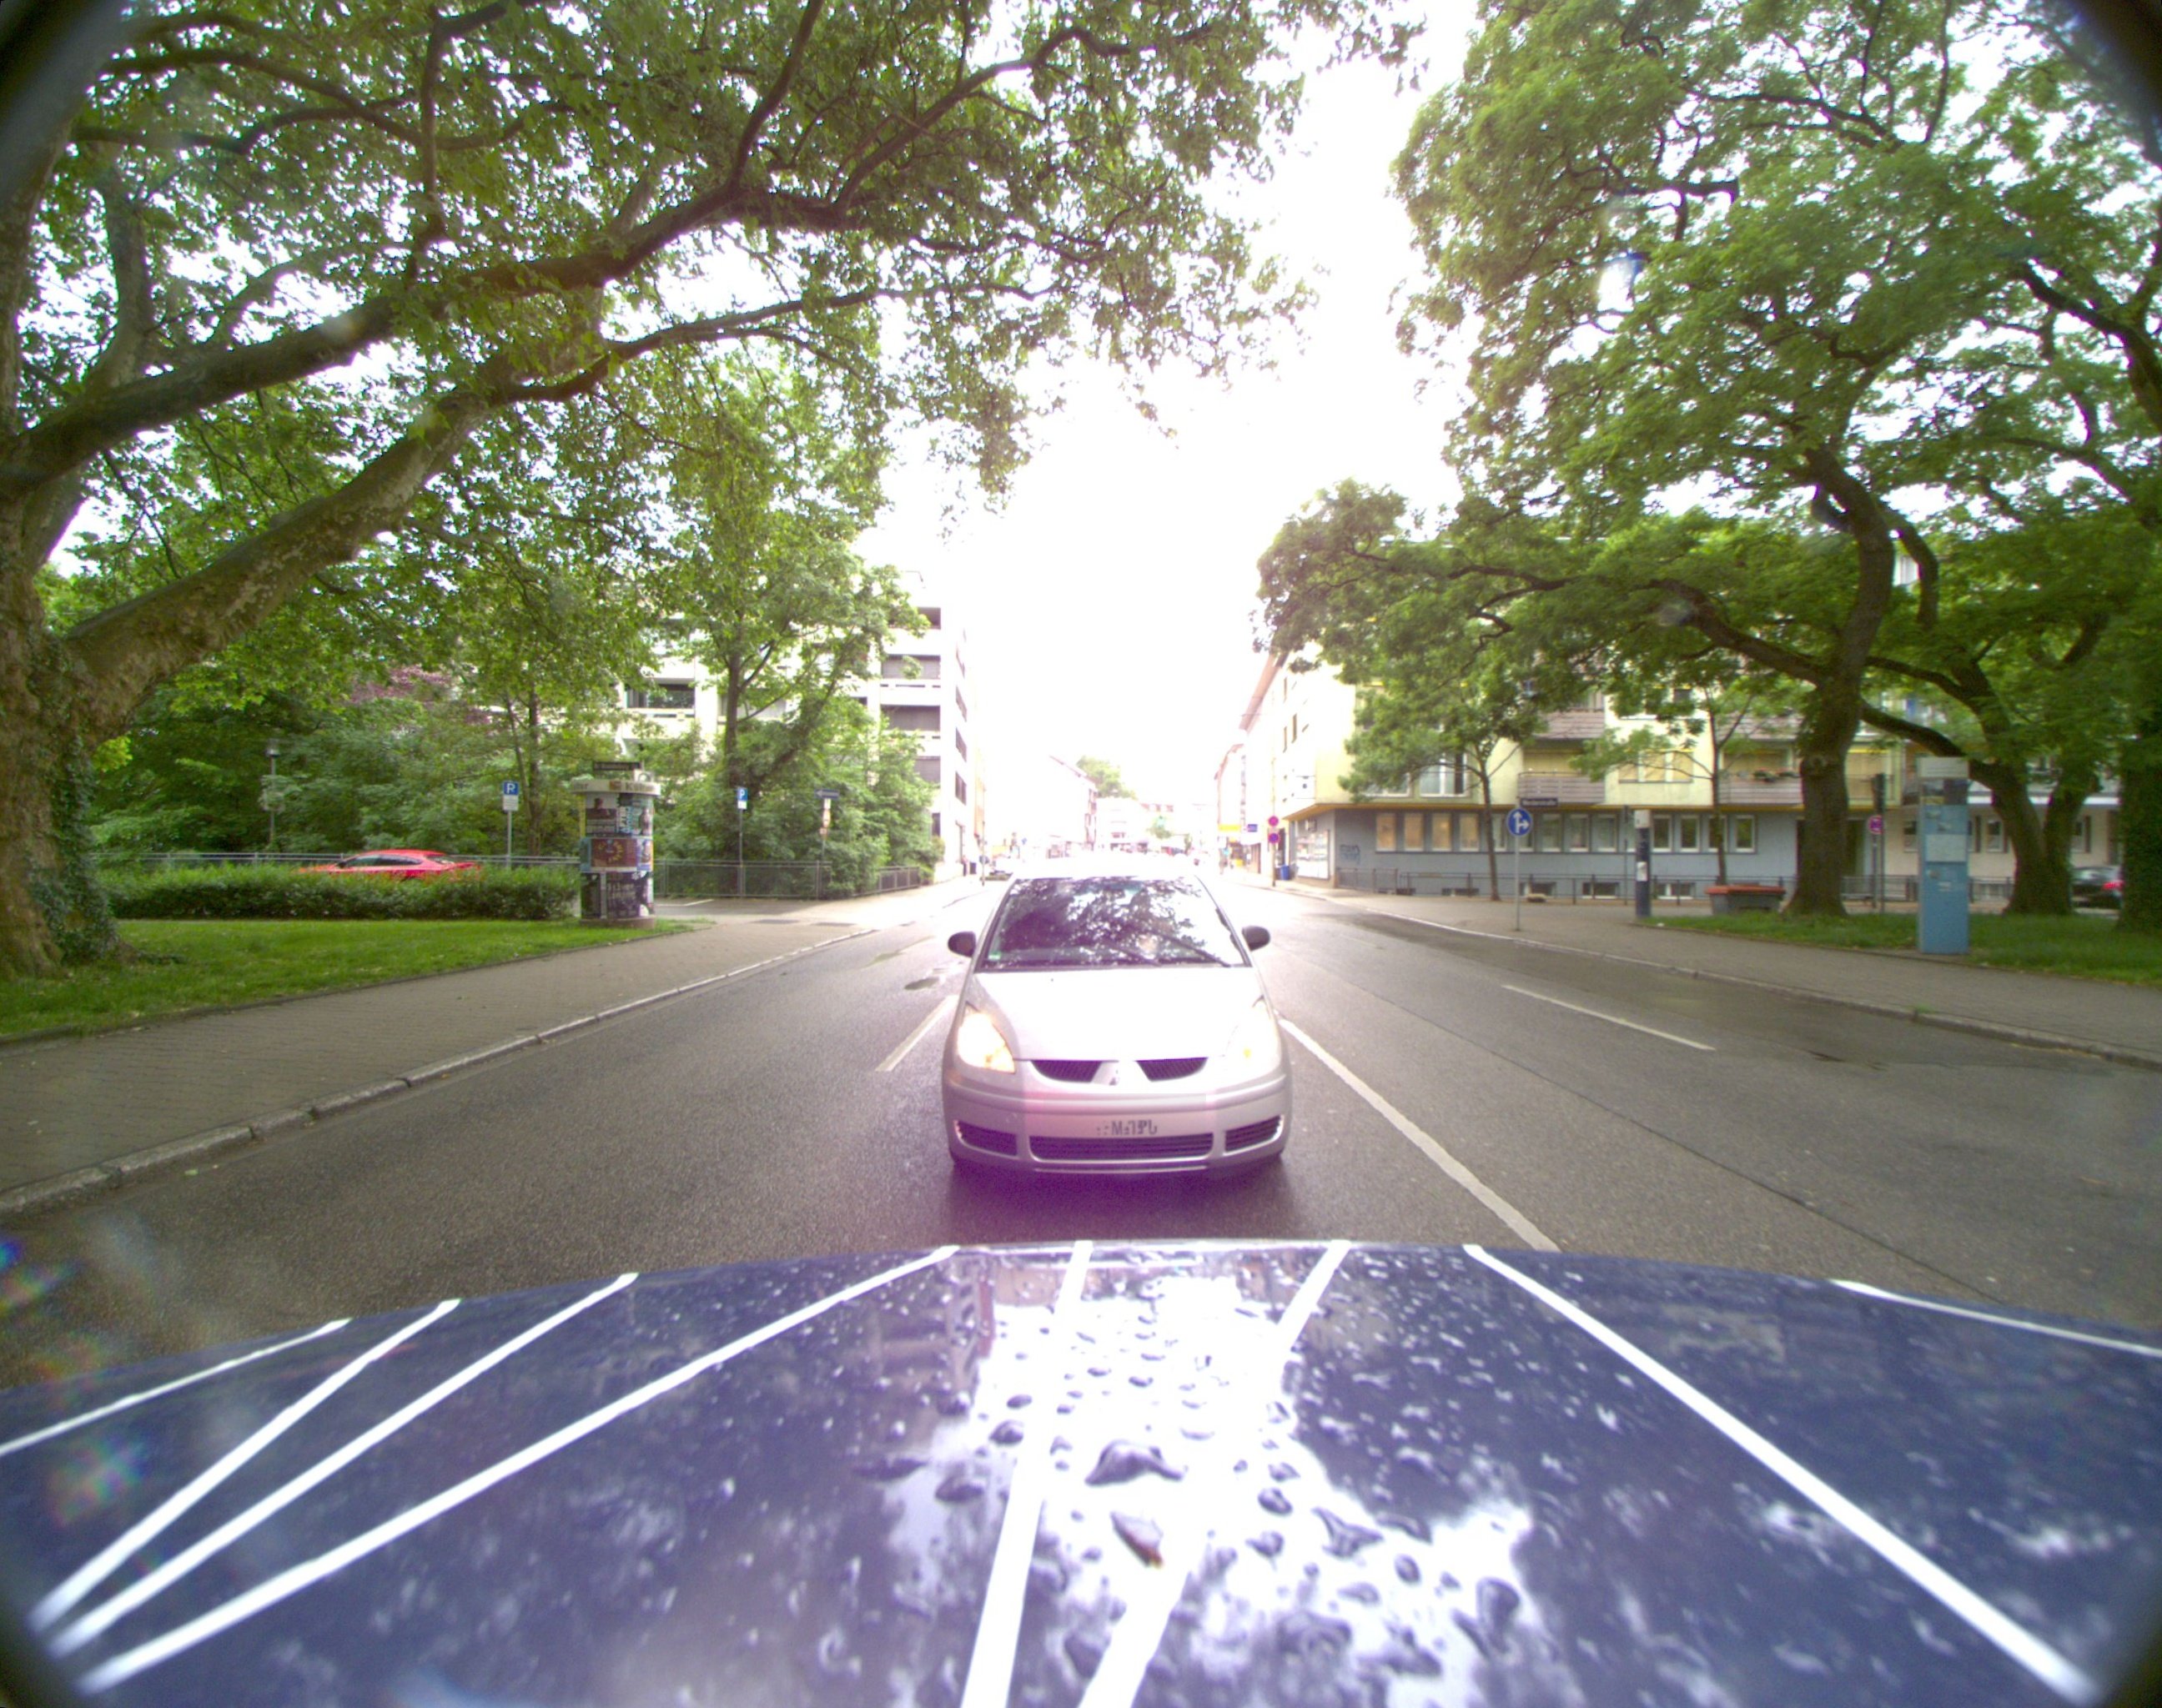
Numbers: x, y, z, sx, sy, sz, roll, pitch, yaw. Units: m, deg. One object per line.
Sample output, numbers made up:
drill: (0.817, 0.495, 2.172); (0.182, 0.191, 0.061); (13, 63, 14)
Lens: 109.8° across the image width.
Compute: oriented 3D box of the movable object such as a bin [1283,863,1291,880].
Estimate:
movable object such as a bin: (13.090, 1.108, 48.265); (0.415, 1.023, 0.353); (1, 1, 8)

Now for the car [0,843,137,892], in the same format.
car: (-29.158, 0.361, 21.258); (3.468, 1.271, 1.448); (1, 1, -5)

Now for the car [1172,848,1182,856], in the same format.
car: (20.672, -0.404, 164.038); (1.998, 1.841, 4.001); (1, 0, 4)

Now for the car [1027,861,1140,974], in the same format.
car: (0.118, 0.920, 12.690); (1.590, 1.540, 3.771); (1, 0, 2)

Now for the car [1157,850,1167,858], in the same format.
car: (16.344, -0.011, 153.395); (1.998, 1.631, 4.001); (1, 0, 4)

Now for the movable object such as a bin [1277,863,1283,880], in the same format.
movable object such as a bin: (12.685, 1.111, 48.410); (0.338, 1.023, 0.353); (1, 1, 8)

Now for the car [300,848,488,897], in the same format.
car: (-19.386, 0.513, 21.565); (3.790, 1.271, 1.576); (1, 1, -3)

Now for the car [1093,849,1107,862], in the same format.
car: (2.732, 0.184, 108.795); (1.935, 1.817, 4.000); (-2, 1, 3)

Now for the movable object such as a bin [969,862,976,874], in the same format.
movable object such as a bin: (-8.983, 1.164, 62.941); (0.556, 1.035, 0.292); (1, 1, 0)

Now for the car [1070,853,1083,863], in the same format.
car: (-0.662, 0.512, 113.037); (1.802, 1.433, 3.896); (1, 0, 0)

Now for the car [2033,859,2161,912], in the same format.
car: (31.523, 0.953, 22.947); (3.564, 1.480, 1.572); (1, 1, -1)

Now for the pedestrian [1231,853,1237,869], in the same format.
pedestrian: (17.501, 0.789, 86.924); (0.594, 1.833, 0.565); (1, 1, 8)

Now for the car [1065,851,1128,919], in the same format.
car: (0.401, 0.782, 21.162); (1.584, 1.705, 3.649); (1, 0, 0)

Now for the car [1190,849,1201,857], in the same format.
car: (24.537, -0.265, 162.820); (1.867, 1.648, 4.001); (1, 0, 4)

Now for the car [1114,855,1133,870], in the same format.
car: (4.283, 0.837, 77.236); (1.701, 1.433, 3.897); (1, 0, 1)

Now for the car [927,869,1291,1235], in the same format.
car: (0.149, 0.914, 4.977); (1.576, 1.514, 3.241); (-1, 0, 1)

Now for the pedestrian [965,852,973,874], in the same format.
pedestrian: (-8.047, 0.660, 54.578); (0.480, 1.521, 0.481); (-2, 1, 1)

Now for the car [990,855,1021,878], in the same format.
car: (-5.304, 0.858, 53.515); (1.681, 1.424, 3.681); (3, 0, 1)

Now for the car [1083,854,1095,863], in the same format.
car: (1.245, 0.661, 117.450); (1.802, 1.433, 3.897); (1, 0, 1)

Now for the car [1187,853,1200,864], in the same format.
car: (17.947, 0.700, 121.413); (1.889, 1.707, 4.001); (1, 0, 4)
